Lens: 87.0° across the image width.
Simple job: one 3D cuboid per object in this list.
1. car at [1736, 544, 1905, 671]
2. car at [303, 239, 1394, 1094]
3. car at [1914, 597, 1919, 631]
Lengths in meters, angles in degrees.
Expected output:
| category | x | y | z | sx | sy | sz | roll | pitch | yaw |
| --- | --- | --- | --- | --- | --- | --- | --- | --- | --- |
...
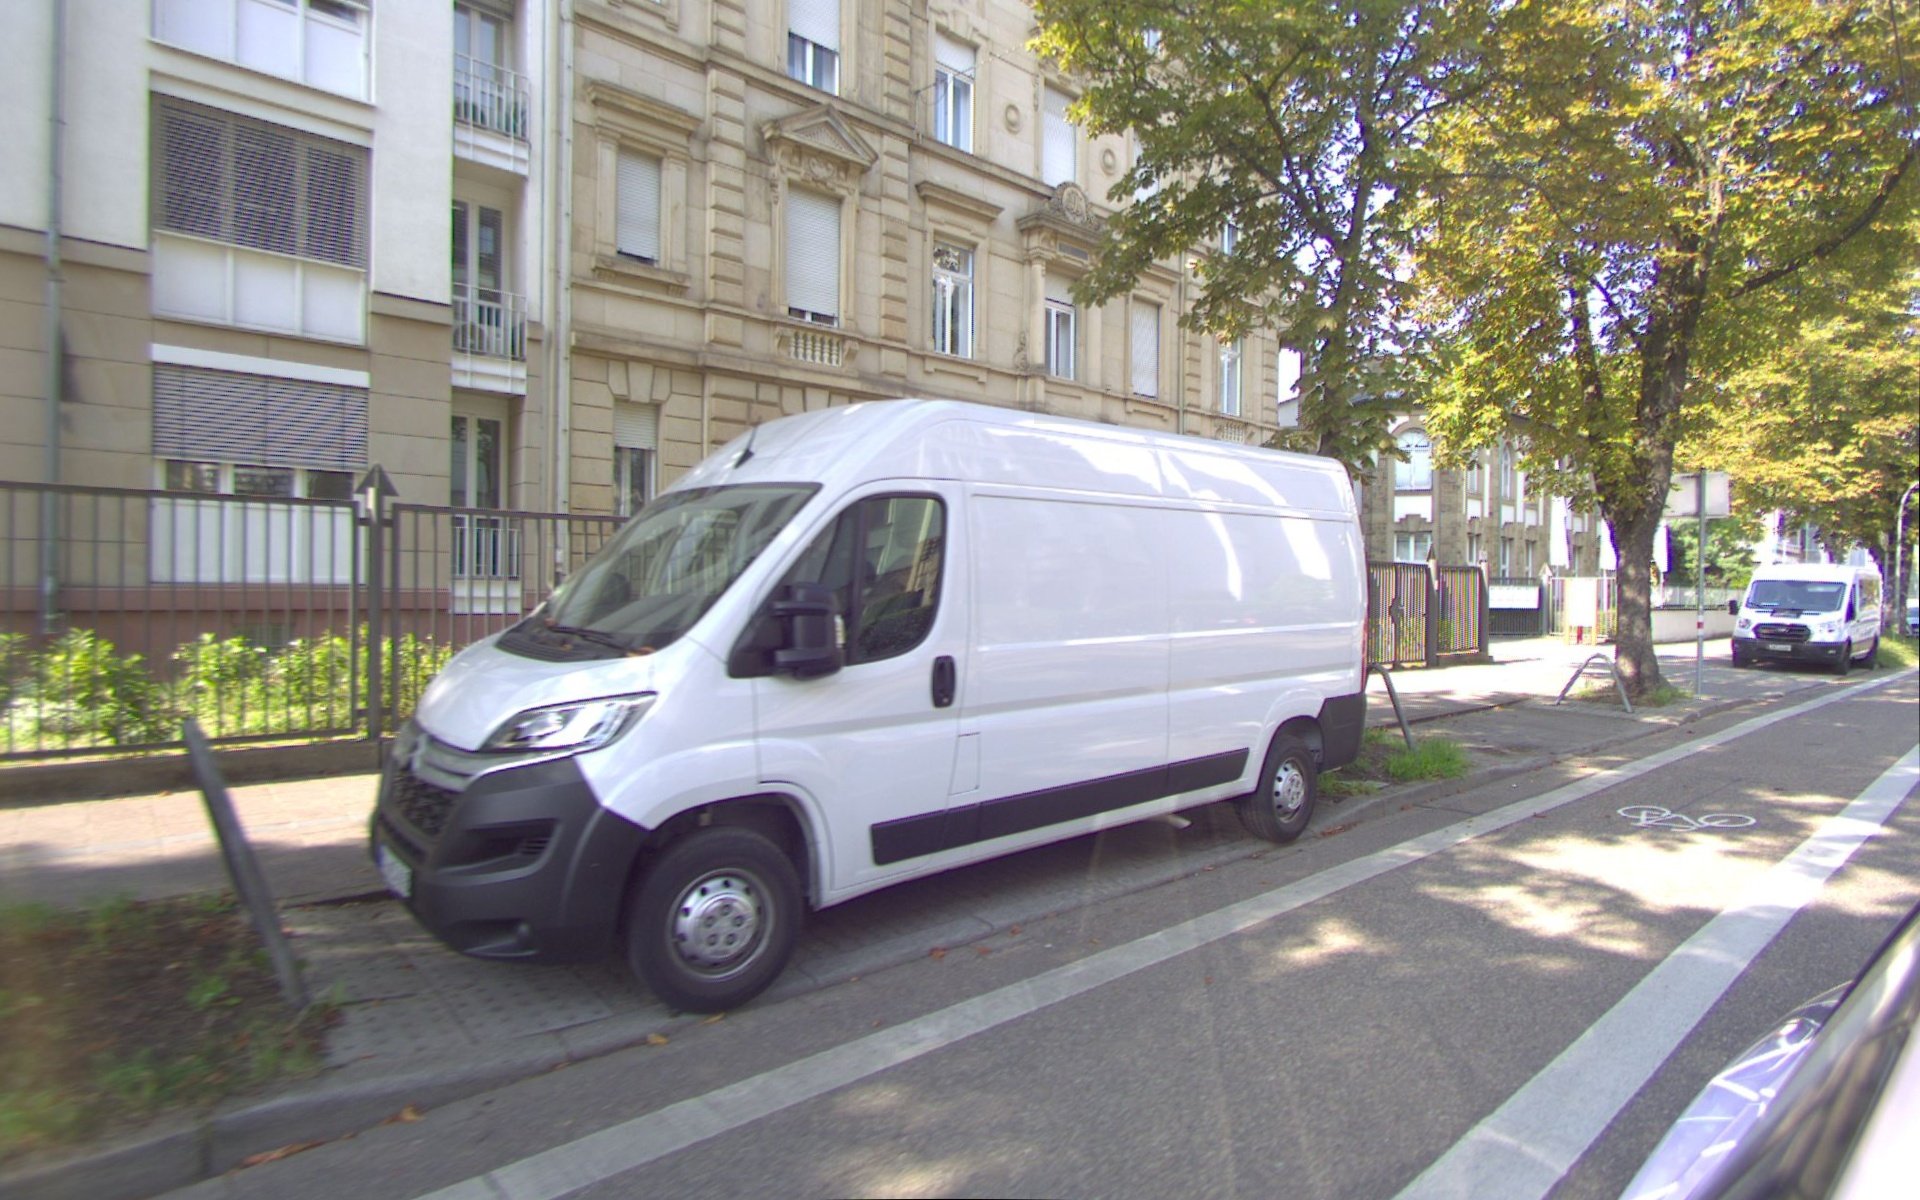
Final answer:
| category | x | y | z | sx | sy | sz | roll | pitch | yaw |
| --- | --- | --- | --- | --- | --- | --- | --- | --- | --- |
| car | 19.908 | 0.100 | 23.311 | 5.764 | 2.572 | 1.998 | 0 | 3 | -41 |
| car | 0.016 | 0.158 | 5.784 | 6.120 | 2.529 | 2.050 | 0 | 2 | -41 |
| car | 40.767 | 0.579 | 41.774 | 3.723 | 1.374 | 1.755 | 0 | 1 | -42 |
